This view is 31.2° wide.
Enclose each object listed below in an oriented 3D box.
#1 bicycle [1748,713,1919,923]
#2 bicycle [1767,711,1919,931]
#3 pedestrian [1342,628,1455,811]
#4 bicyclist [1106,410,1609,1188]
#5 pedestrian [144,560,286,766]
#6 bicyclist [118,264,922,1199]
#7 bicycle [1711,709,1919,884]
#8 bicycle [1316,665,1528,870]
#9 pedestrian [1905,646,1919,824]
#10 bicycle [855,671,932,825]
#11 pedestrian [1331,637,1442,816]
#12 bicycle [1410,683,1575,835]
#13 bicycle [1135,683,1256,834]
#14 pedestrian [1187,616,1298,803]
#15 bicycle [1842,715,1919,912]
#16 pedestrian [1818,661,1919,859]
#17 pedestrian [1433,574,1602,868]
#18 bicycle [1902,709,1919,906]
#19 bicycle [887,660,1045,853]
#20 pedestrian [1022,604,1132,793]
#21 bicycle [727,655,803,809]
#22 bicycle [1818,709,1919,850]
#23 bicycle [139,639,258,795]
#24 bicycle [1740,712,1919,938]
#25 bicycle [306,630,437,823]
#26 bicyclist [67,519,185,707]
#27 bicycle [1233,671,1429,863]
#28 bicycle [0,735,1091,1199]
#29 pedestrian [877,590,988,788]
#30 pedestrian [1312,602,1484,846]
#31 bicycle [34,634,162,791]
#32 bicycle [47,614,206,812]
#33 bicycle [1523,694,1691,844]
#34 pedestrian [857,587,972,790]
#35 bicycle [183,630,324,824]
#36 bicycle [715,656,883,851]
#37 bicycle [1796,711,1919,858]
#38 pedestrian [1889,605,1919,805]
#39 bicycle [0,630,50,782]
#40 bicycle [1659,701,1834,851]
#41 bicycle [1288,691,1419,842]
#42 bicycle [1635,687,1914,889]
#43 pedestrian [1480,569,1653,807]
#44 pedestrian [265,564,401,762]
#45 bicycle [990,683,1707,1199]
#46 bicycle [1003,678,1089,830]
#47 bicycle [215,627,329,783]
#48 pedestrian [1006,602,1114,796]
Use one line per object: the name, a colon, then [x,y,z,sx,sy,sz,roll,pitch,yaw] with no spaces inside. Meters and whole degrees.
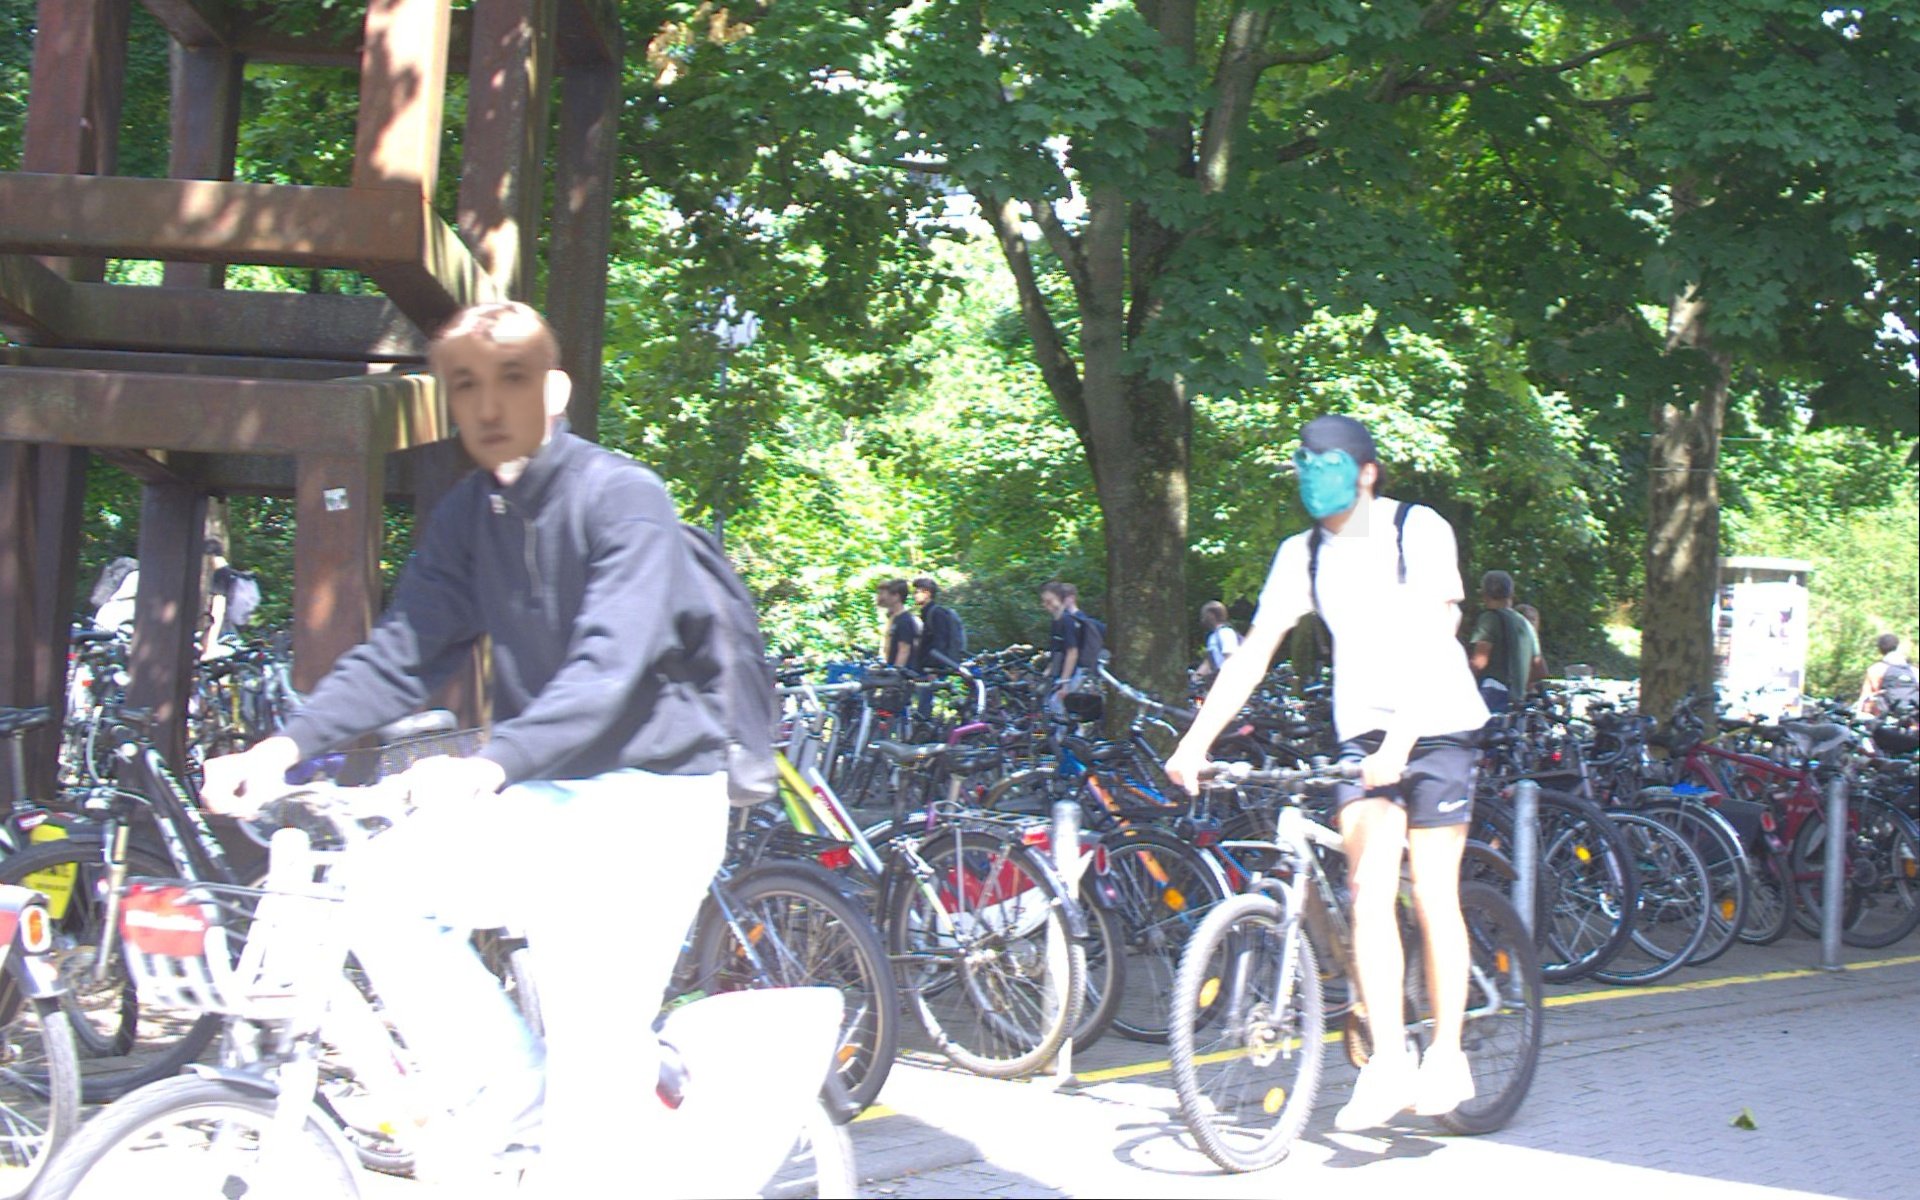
bicycle: [5.359,1.244,19.318,1.736,1.104,0.497,4,-1,12]
bicycle: [5.316,1.221,18.552,1.738,1.122,0.496,3,-1,31]
pedestrian: [4.173,1.132,32.771,0.904,1.674,0.770,4,-1,2]
bicyclist: [1.036,0.492,8.943,0.805,1.885,0.865,4,-1,44]
pedestrian: [-6.684,0.564,30.870,0.905,1.768,0.769,3,-1,12]
bicyclist: [-0.708,0.467,5.468,0.966,1.881,0.675,4,0,-40]
bicycle: [6.163,1.368,23.936,1.696,1.104,0.502,3,-1,24]
bicycle: [2.934,1.050,21.985,0.574,1.195,1.700,4,-1,-19]
pedestrian: [9.689,1.337,33.388,0.685,1.718,0.730,4,-1,33]
bicycle: [-0.514,1.100,25.997,0.472,1.080,1.700,4,-1,-2]
pedestrian: [4.164,1.223,33.605,0.904,1.674,0.770,4,-1,2]
bicycle: [4.141,1.227,26.852,0.472,1.080,1.700,4,-1,-19]
bicycle: [1.822,1.220,26.793,0.472,1.080,1.700,4,-1,-10]
pedestrian: [2.648,1.022,32.317,0.904,1.674,0.770,4,-1,2]
bicycle: [6.053,1.278,19.869,1.737,1.104,0.496,3,-1,23]
pedestrian: [8.375,1.432,30.770,1.061,1.718,0.719,3,-1,-22]
pedestrian: [3.543,0.761,21.902,0.767,1.800,0.710,4,-1,-10]
bicycle: [6.549,1.293,20.363,1.738,1.174,0.496,3,-1,35]
bicycle: [0.019,0.962,21.578,0.501,1.104,1.700,4,-1,-15]
pedestrian: [1.079,0.904,31.732,0.904,1.674,0.770,4,-1,2]
bicycle: [-1.447,0.965,25.653,0.472,1.080,1.700,4,-1,-2]
bicycle: [7.739,1.472,27.980,0.472,1.080,1.700,4,-1,-23]
bicycle: [-5.612,0.843,25.400,0.472,1.080,1.859,4,-1,-2]
bicycle: [5.034,1.199,17.993,1.739,1.104,0.496,3,-1,35]
bicycle: [-3.590,0.756,21.080,0.501,1.104,1.780,4,-1,-2]
bicyclist: [-7.184,0.113,29.636,0.719,1.563,0.595,4,-1,8]
bicycle: [2.337,1.041,21.822,0.501,1.104,1.700,4,-1,-19]
bicycle: [-0.751,0.824,5.463,1.881,1.136,0.675,4,0,-40]
pedestrian: [-0.249,0.825,32.077,0.904,1.768,0.770,4,-1,2]
pedestrian: [3.179,0.894,24.992,0.904,1.697,0.770,4,-1,-18]
bicycle: [-6.313,0.806,25.244,0.472,1.080,1.859,4,-1,-2]
bicycle: [-5.001,0.663,20.729,0.501,1.104,1.907,4,-1,-2]
bicycle: [5.130,1.327,27.346,0.472,1.080,1.700,4,-1,-19]
pedestrian: [-0.404,0.795,31.251,0.904,1.768,0.770,4,-1,2]
bicycle: [-4.314,0.757,21.074,0.501,1.104,1.780,4,-1,-2]
bicycle: [-1.019,0.933,21.381,0.629,1.104,1.700,4,-1,-15]
bicycle: [7.430,1.471,27.449,0.472,1.080,1.700,4,-1,-23]
pedestrian: [9.214,0.985,31.747,0.938,1.829,0.686,3,-1,-20]
bicycle: [-7.178,0.768,25.297,0.472,1.080,1.859,4,-1,-2]
bicycle: [6.286,1.395,27.562,0.472,1.080,1.700,4,-1,-19]
bicycle: [3.057,1.279,26.838,0.472,1.080,1.700,4,-1,-10]
bicycle: [5.478,1.252,23.133,1.696,1.216,0.502,3,-1,24]
pedestrian: [4.506,0.649,25.571,0.904,1.697,0.770,4,-1,-19]
pedestrian: [-5.803,0.584,31.864,0.905,1.768,0.769,3,-1,13]
bicycle: [1.059,0.865,8.998,0.805,1.168,1.881,4,-1,44]
bicycle: [0.646,1.164,26.354,0.472,1.080,1.700,4,-1,-2]
bicycle: [-5.043,0.757,25.286,0.472,1.080,1.859,4,-1,-2]
pedestrian: [0.948,0.933,32.658,0.904,1.768,0.770,4,-1,2]
